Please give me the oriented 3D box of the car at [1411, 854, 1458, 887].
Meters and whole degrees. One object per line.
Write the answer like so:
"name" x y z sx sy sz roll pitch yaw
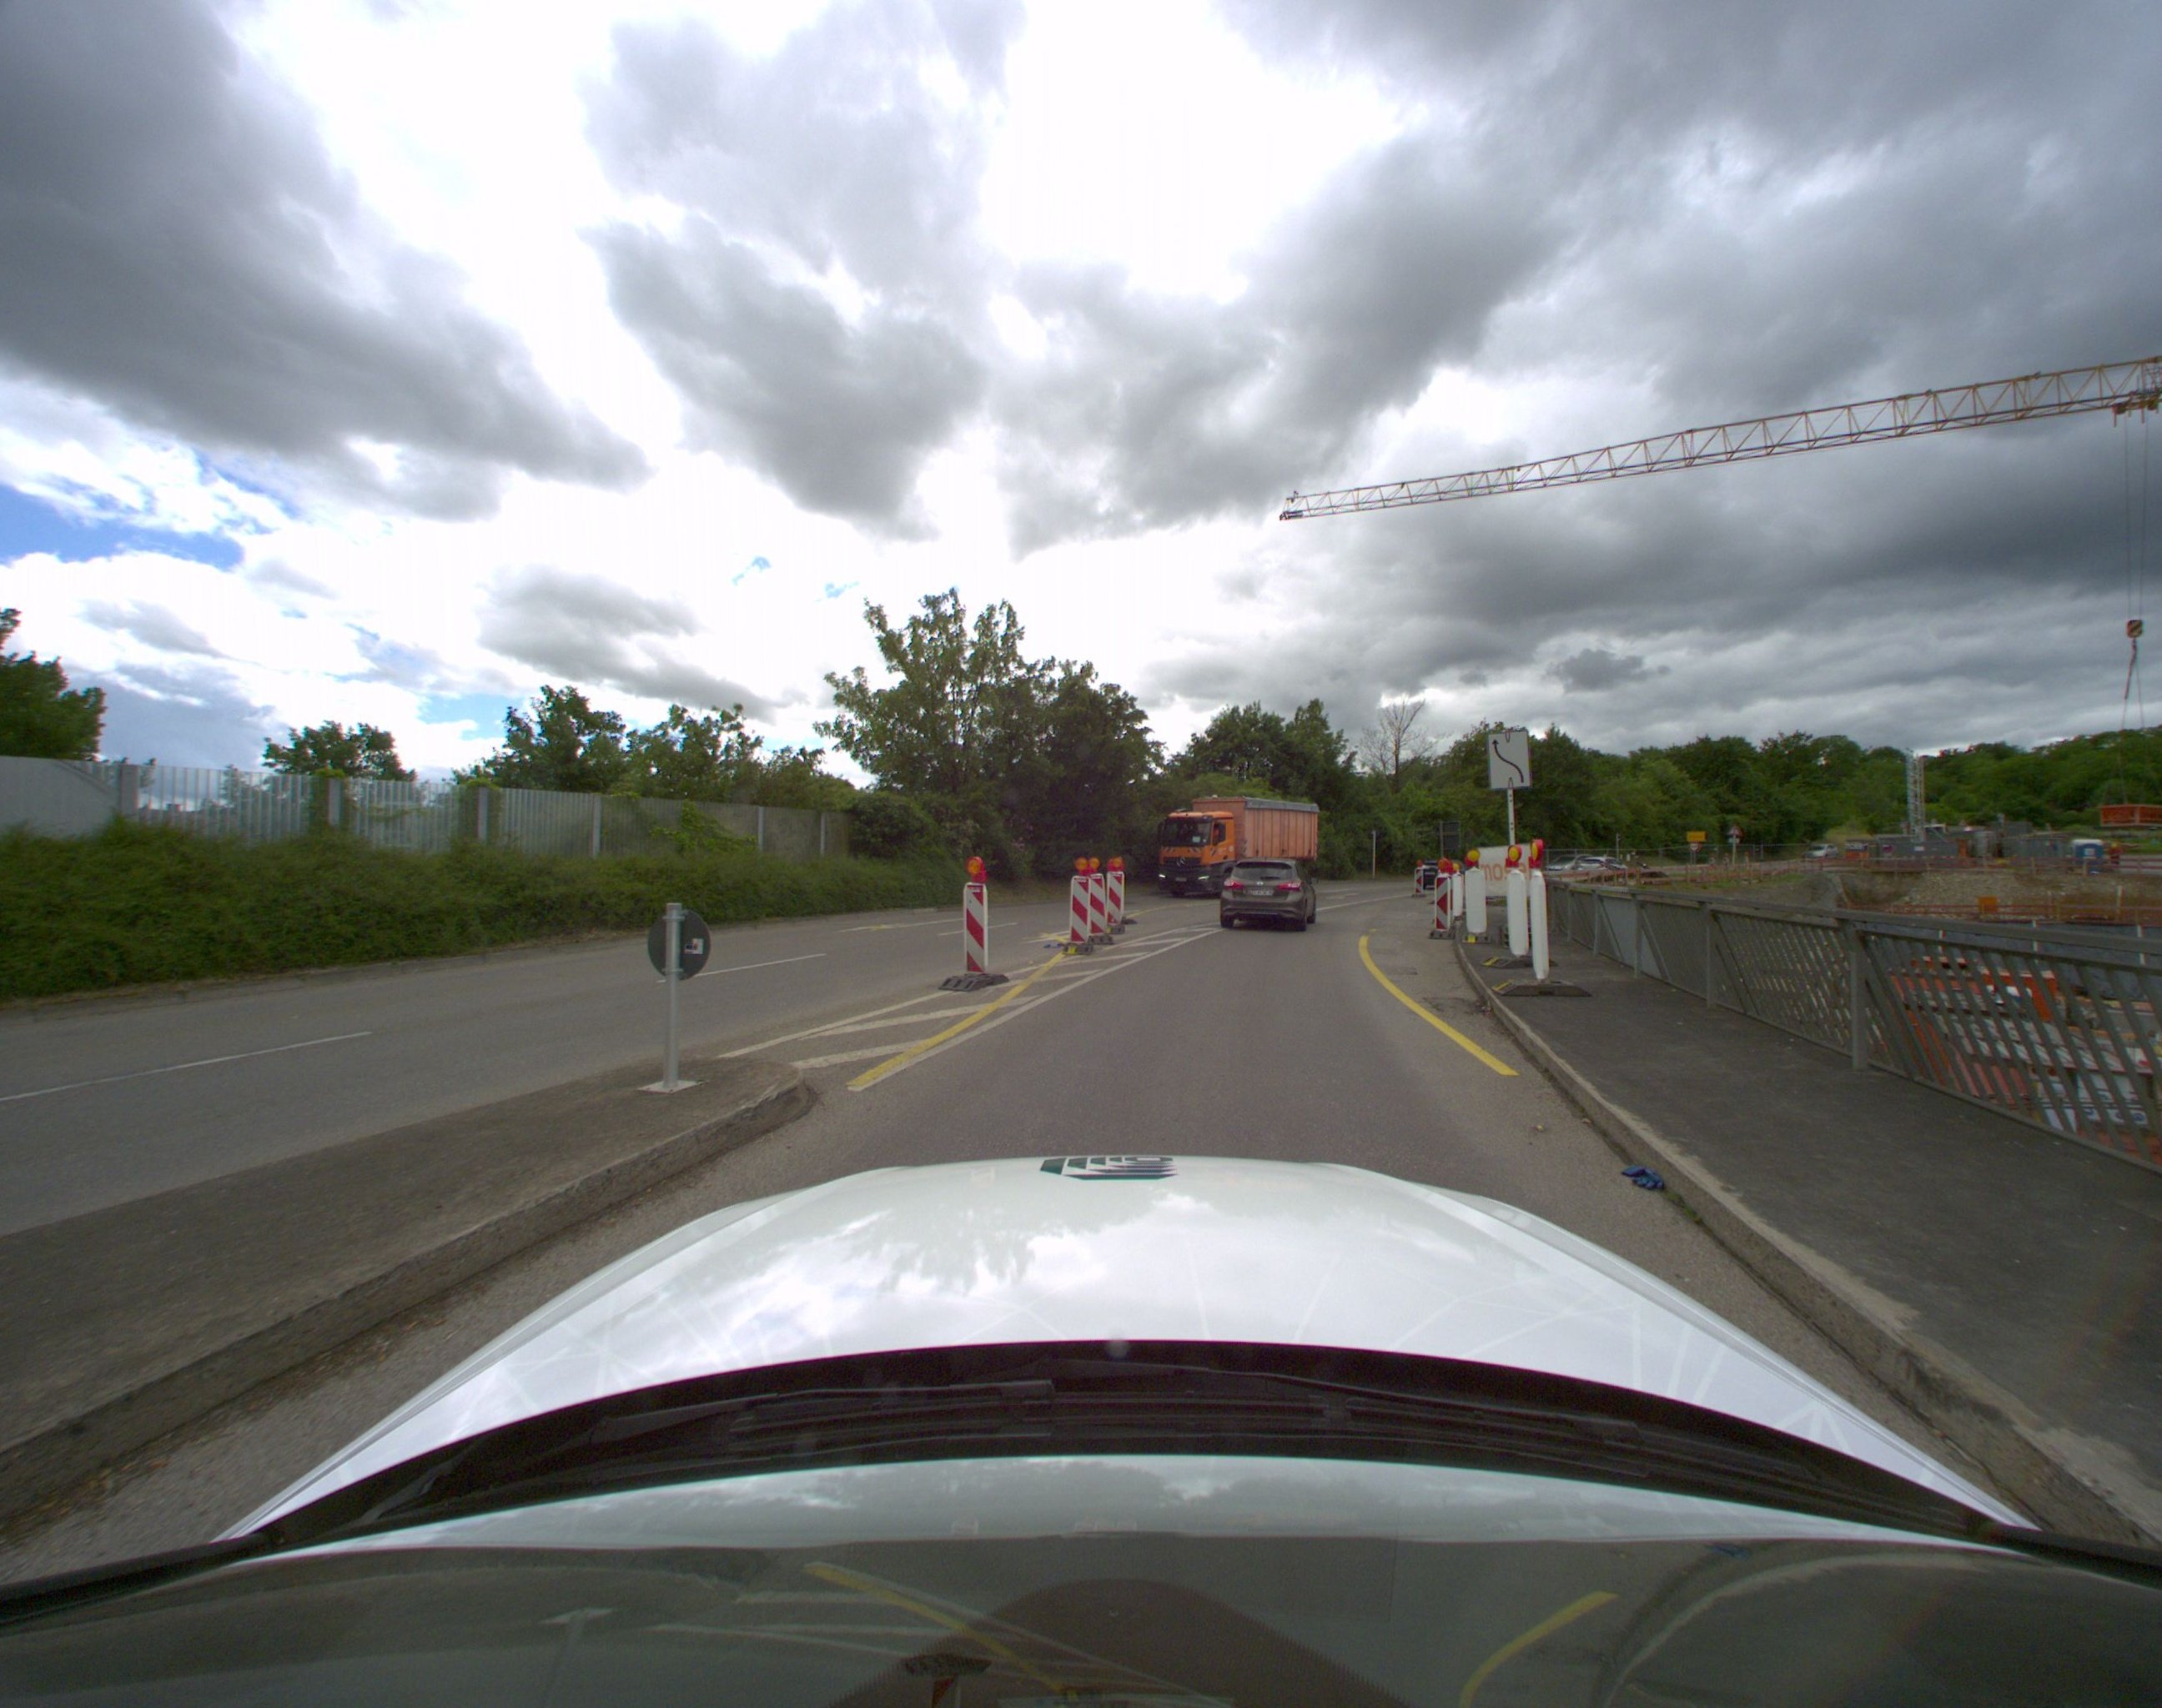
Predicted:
"car" 17.986 0.788 41.382 1.802 1.552 3.812 0 1 29

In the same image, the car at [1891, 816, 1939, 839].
"car" 76.060 -2.390 74.276 4.009 2.014 1.982 0 -2 -28

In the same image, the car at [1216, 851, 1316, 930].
"car" 4.264 0.730 18.321 1.783 1.552 4.019 1 0 19

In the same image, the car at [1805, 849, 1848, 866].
"car" 72.667 0.364 79.342 4.194 1.552 1.648 0 2 -26

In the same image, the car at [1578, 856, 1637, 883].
"car" 34.051 0.980 52.616 4.015 1.675 1.699 0 -2 -33

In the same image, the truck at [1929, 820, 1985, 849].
"truck" 108.654 -2.414 101.012 8.405 3.336 2.802 -2 0 -30

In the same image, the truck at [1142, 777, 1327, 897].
"truck" 6.649 -0.618 33.590 3.080 4.220 9.854 0 0 40

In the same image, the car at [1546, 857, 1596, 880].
"car" 34.230 1.004 56.849 4.372 1.545 1.619 1 0 -39
